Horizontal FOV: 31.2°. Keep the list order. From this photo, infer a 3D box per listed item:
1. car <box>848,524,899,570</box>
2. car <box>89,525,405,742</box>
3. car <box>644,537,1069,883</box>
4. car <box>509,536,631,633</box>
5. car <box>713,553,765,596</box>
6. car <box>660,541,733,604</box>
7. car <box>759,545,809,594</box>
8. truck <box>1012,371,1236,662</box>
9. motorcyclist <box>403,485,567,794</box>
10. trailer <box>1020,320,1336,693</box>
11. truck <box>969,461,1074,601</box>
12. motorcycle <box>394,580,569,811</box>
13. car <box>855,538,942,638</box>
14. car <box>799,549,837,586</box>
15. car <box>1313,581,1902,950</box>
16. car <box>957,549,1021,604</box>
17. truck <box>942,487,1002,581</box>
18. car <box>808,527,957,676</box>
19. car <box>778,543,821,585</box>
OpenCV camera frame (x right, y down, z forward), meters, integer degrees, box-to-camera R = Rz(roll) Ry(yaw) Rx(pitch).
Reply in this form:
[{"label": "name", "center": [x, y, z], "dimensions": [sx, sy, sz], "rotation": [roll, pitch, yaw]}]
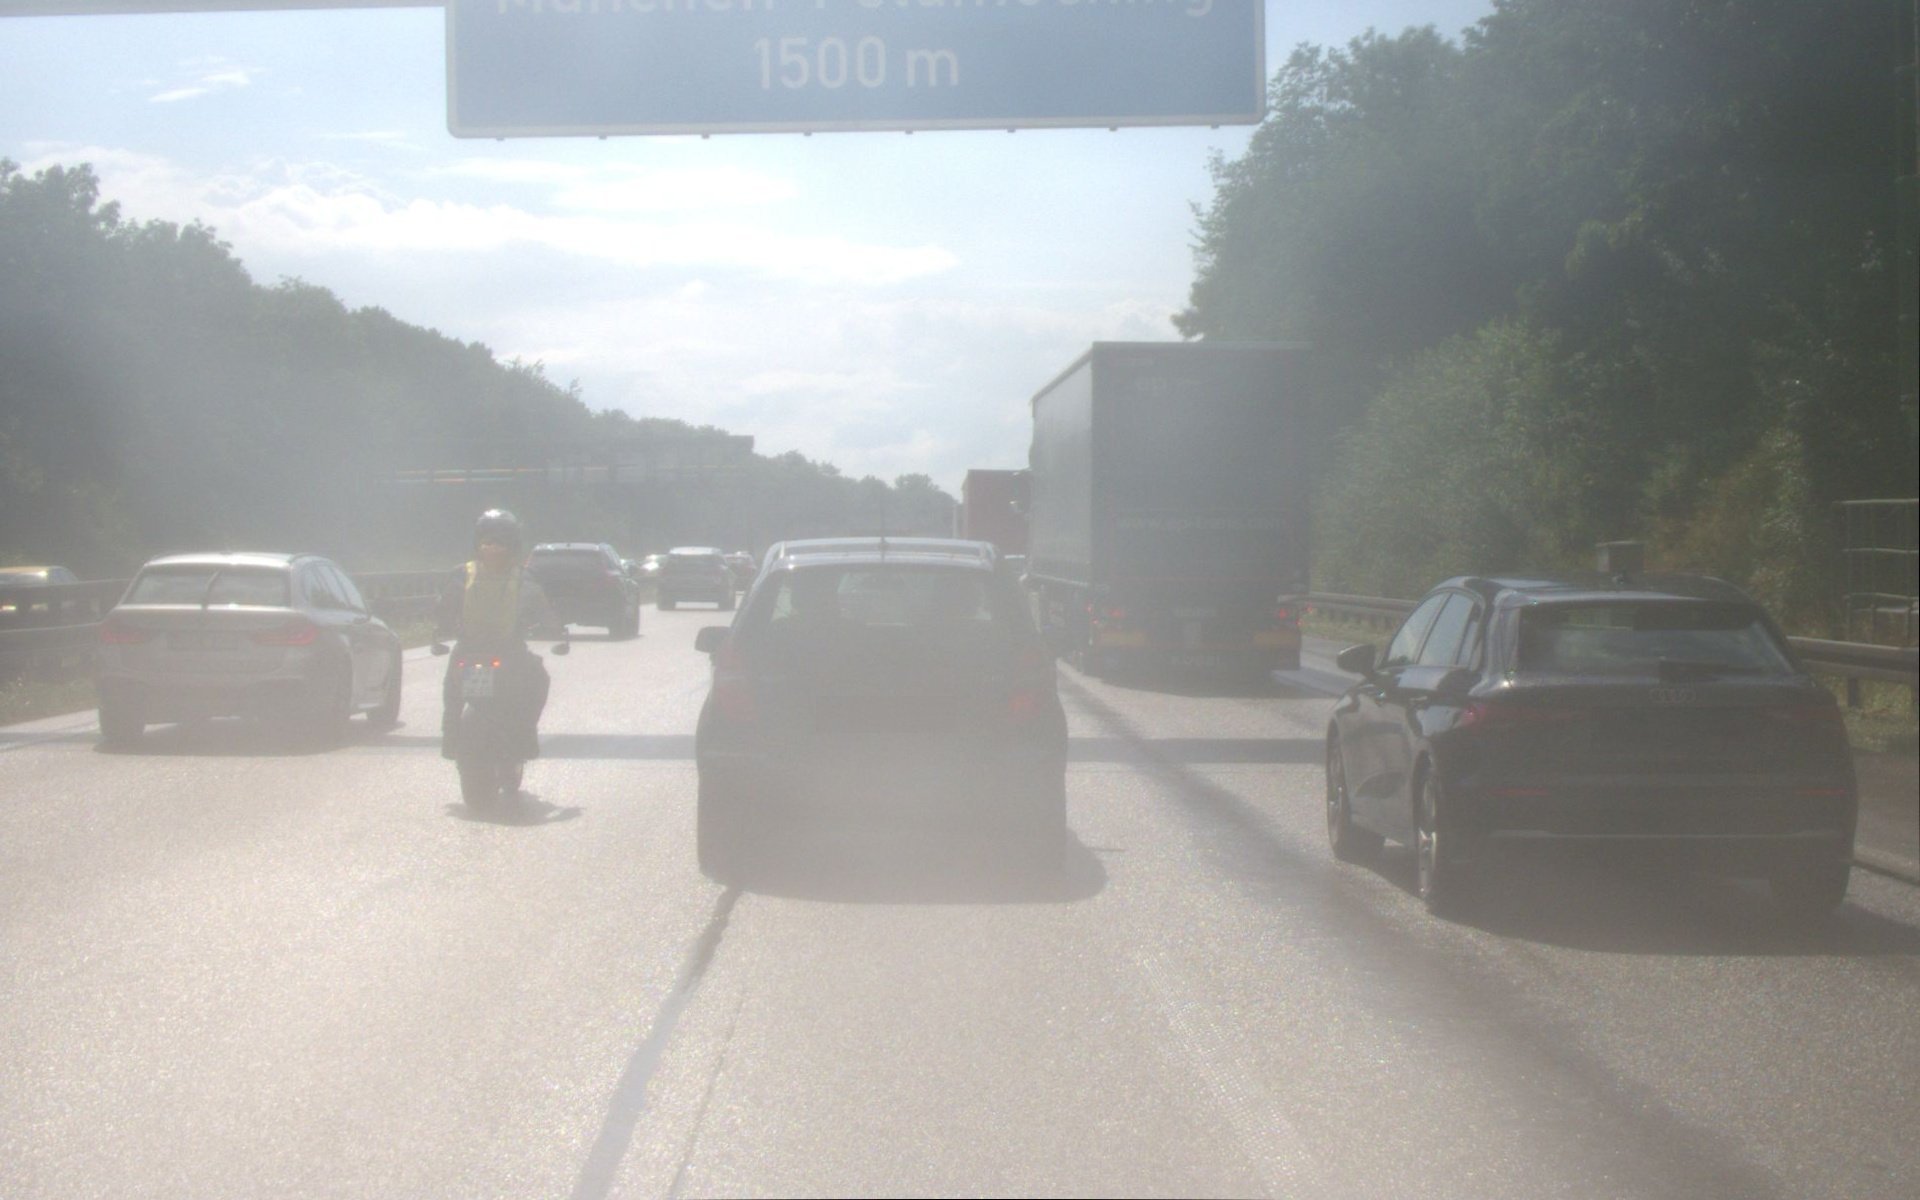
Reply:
[{"label": "car", "center": [-2.845, -1.731, 113.313], "dimensions": [1.631, 1.485, 3.437], "rotation": [0, 1, -1]}, {"label": "car", "center": [-5.621, 0.218, 27.580], "dimensions": [1.758, 1.589, 4.331], "rotation": [0, 1, -2]}, {"label": "car", "center": [-0.513, 0.471, 17.746], "dimensions": [1.915, 1.560, 4.314], "rotation": [0, 1, -1]}, {"label": "car", "center": [-6.746, -0.283, 59.837], "dimensions": [1.892, 1.622, 4.195], "rotation": [0, 1, -3]}, {"label": "car", "center": [-7.776, -0.925, 121.234], "dimensions": [1.675, 1.485, 3.437], "rotation": [0, 1, -1]}, {"label": "car", "center": [-6.798, -0.723, 88.910], "dimensions": [1.675, 1.591, 3.437], "rotation": [0, 1, -1]}, {"label": "car", "center": [-7.482, -1.293, 146.439], "dimensions": [1.993, 2.007, 4.000], "rotation": [1, 0, -1]}, {"label": "truck", "center": [2.485, -1.283, 54.166], "dimensions": [3.052, 4.310, 5.886], "rotation": [1, 1, -2]}, {"label": "motorcyclist", "center": [-2.789, 0.219, 20.307], "dimensions": [0.821, 1.755, 1.390], "rotation": [1, 0, -3]}, {"label": "trailer", "center": [2.649, -1.180, 46.865], "dimensions": [3.088, 4.298, 14.106], "rotation": [0, 1, -1]}, {"label": "truck", "center": [1.956, -2.243, 113.076], "dimensions": [3.202, 4.389, 9.432], "rotation": [0, 1, 0]}, {"label": "motorcycle", "center": [-2.798, 0.529, 20.288], "dimensions": [0.819, 1.258, 2.118], "rotation": [1, 1, -3]}, {"label": "car", "center": [-1.225, -0.258, 68.292], "dimensions": [1.675, 1.929, 3.774], "rotation": [0, 1, -1]}, {"label": "car", "center": [-7.917, -1.802, 192.119], "dimensions": [1.993, 2.007, 4.000], "rotation": [1, 0, -1]}, {"label": "car", "center": [2.746, 0.633, 15.572], "dimensions": [1.755, 1.391, 4.369], "rotation": [0, 1, -1]}, {"label": "car", "center": [0.795, -0.654, 95.464], "dimensions": [1.675, 1.485, 3.437], "rotation": [0, 1, -1]}, {"label": "truck", "center": [0.570, -3.386, 179.617], "dimensions": [2.882, 4.671, 12.659], "rotation": [1, 0, -1]}, {"label": "car", "center": [-1.102, 0.005, 48.584], "dimensions": [1.993, 2.007, 4.000], "rotation": [1, 0, -1]}, {"label": "car", "center": [-7.894, -1.764, 169.509], "dimensions": [1.993, 2.007, 4.000], "rotation": [1, 0, -1]}]
